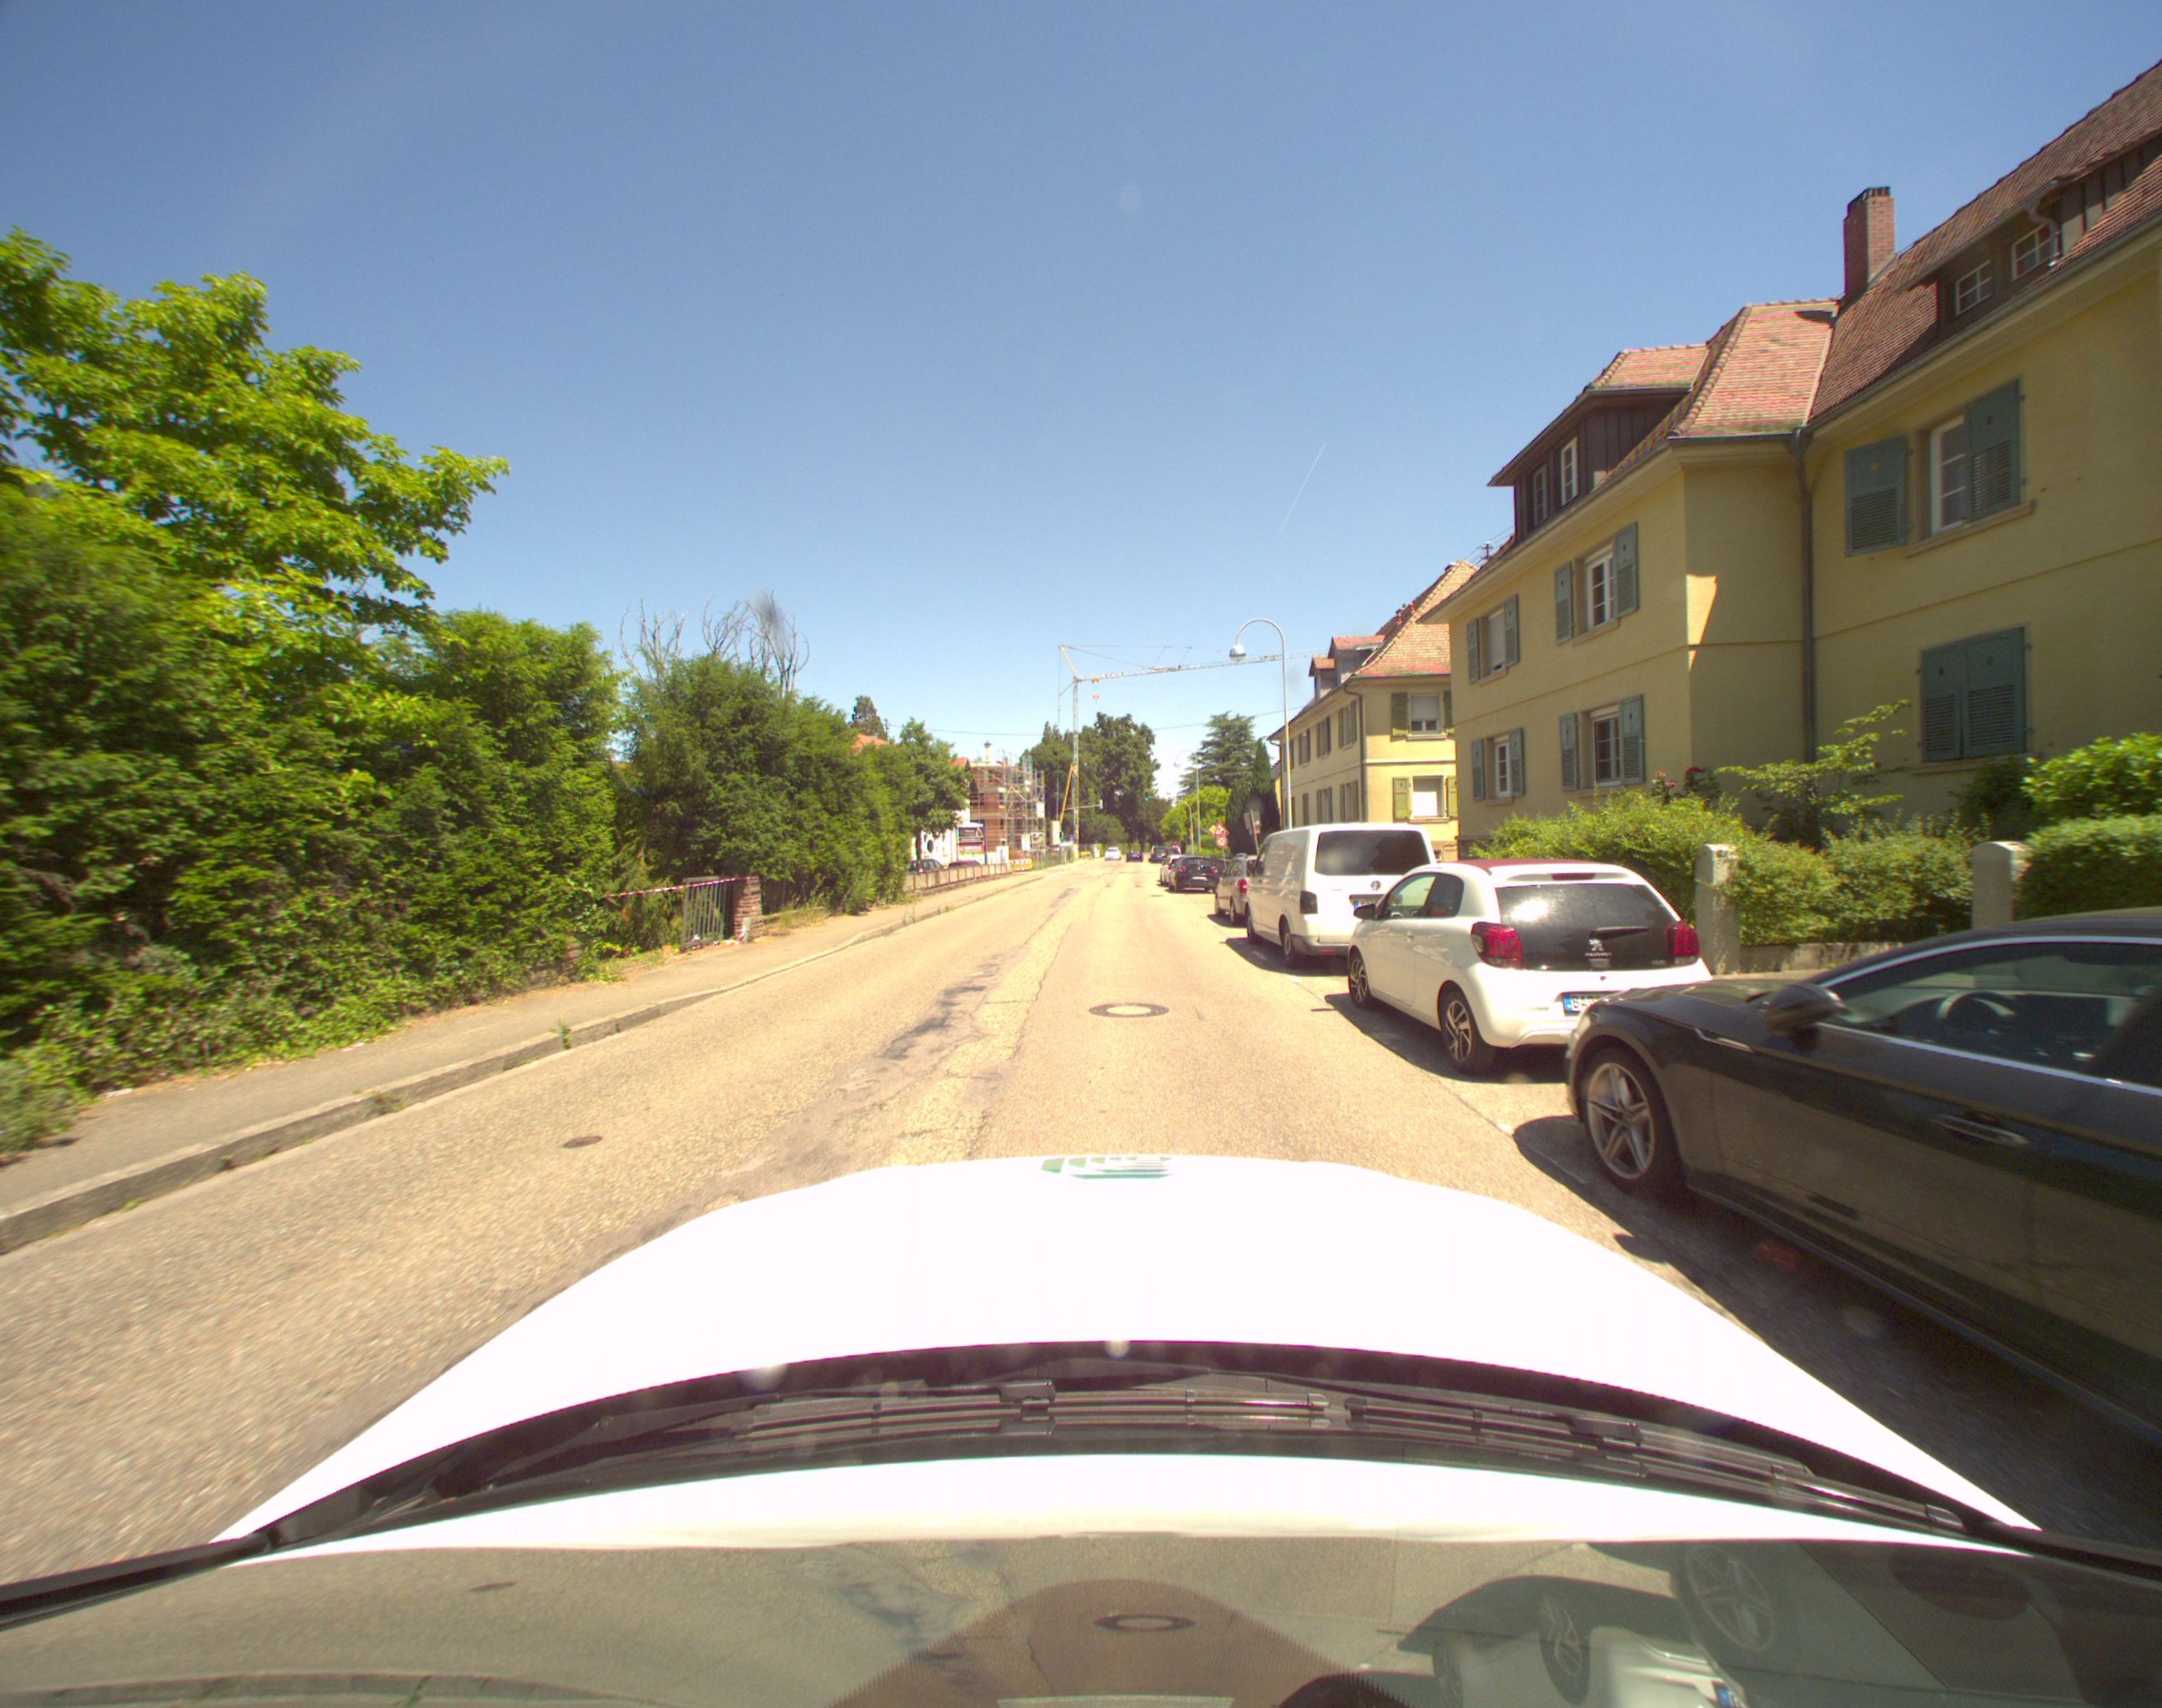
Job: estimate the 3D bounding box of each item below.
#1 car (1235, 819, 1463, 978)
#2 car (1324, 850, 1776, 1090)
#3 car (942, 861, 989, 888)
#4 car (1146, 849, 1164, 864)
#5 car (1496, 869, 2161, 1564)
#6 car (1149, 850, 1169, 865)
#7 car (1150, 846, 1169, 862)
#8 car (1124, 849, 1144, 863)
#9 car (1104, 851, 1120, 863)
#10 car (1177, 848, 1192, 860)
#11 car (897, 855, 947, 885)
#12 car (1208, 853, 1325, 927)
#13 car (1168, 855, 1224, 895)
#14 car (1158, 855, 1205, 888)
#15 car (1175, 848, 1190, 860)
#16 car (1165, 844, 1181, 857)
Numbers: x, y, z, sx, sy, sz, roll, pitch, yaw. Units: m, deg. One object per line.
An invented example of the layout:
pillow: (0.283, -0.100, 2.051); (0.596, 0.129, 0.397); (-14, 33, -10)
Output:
car: (3.703, 0.544, 12.279); (1.986, 1.901, 4.824); (1, 0, 2)
car: (3.438, 0.715, 6.855); (1.755, 1.451, 3.649); (-1, 0, 1)
car: (-6.505, 1.136, 46.053); (1.650, 1.389, 3.543); (-2, 0, 8)
car: (8.839, 0.266, 96.938); (1.983, 1.662, 4.007); (-2, 0, 6)
car: (3.142, 0.787, 2.207); (1.755, 1.371, 4.608); (-1, 0, 1)
car: (8.342, 0.358, 86.719); (1.983, 1.574, 4.007); (-2, 0, 6)
car: (8.842, 0.008, 91.682); (1.983, 1.662, 4.007); (-2, 0, 6)
car: (6.057, 0.181, 92.069); (1.948, 1.468, 4.008); (-2, 0, 7)
car: (3.977, 0.411, 103.043); (1.752, 1.451, 3.846); (-1, 0, 6)
car: (15.761, -0.016, 123.966); (1.982, 1.662, 4.010); (-2, 0, 9)
car: (-9.013, 0.864, 46.306); (1.650, 1.576, 3.543); (-2, 0, 8)
car: (4.039, 0.712, 18.411); (1.755, 1.451, 4.224); (-1, 0, 1)
car: (4.505, 0.798, 32.344); (1.755, 1.451, 3.840); (-1, 0, 1)
car: (4.625, 0.770, 37.946); (1.755, 1.451, 3.890); (-1, 0, 1)
car: (14.772, -0.015, 118.854); (1.982, 1.662, 4.010); (-2, 0, 9)
car: (12.878, -0.508, 114.143); (1.982, 1.662, 4.010); (-2, 0, 9)
